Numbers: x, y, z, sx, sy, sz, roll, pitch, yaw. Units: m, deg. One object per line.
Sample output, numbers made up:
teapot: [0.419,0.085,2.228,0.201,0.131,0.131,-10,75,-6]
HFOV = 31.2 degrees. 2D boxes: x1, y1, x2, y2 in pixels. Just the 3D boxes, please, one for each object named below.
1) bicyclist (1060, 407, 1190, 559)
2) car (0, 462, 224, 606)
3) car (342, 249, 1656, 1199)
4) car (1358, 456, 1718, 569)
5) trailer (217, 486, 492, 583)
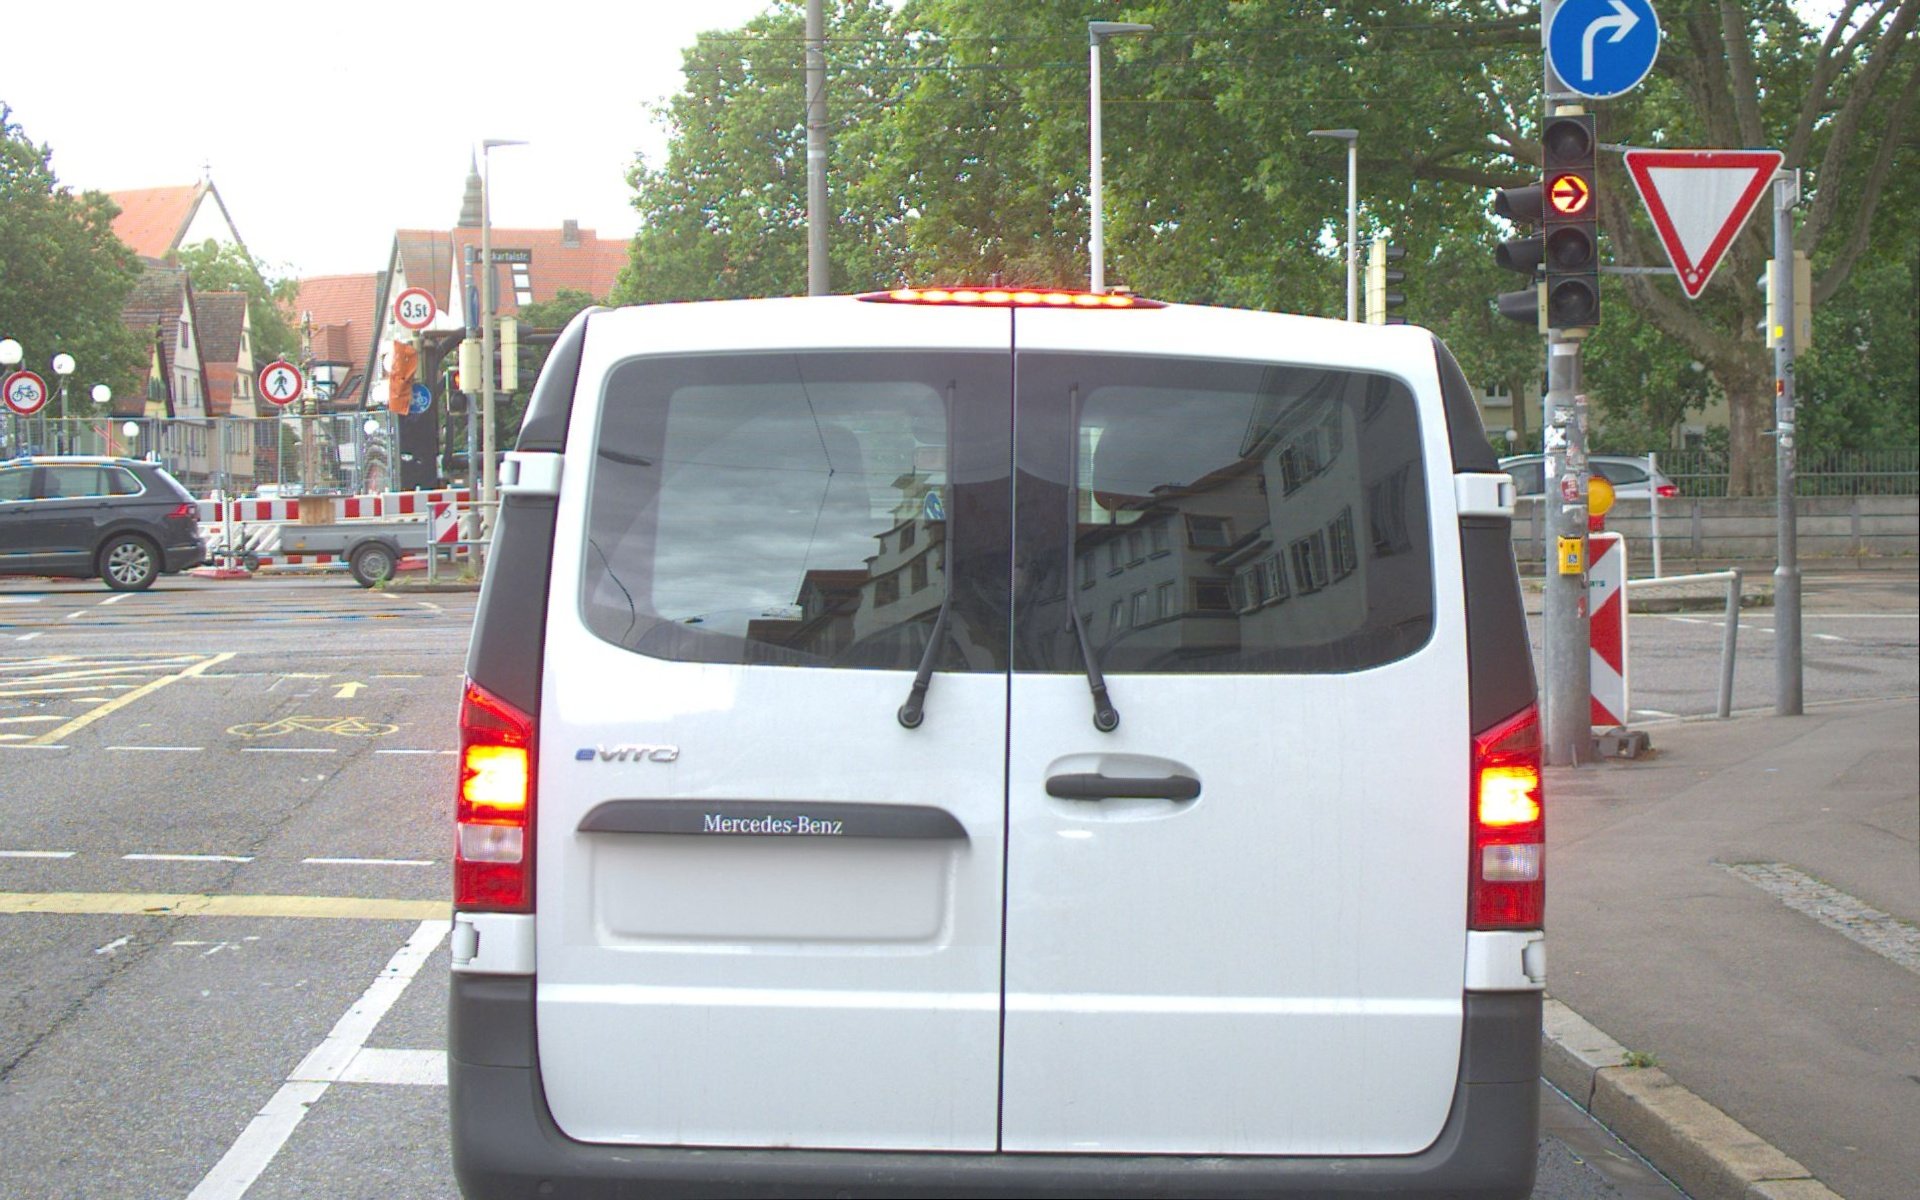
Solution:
bicyclist: [2.366,-1.676,49.520,1.563,2.148,1.248,-1,1,-14]
car: [-11.229,-0.767,41.408,4.517,1.628,2.001,-2,1,-14]
car: [-0.009,0.332,7.389,1.993,1.916,4.250,1,3,-2]
car: [7.582,-1.153,45.224,4.274,1.447,1.900,0,1,-11]
trailer: [-7.481,-0.816,42.345,3.199,1.154,2.001,-1,1,-14]
